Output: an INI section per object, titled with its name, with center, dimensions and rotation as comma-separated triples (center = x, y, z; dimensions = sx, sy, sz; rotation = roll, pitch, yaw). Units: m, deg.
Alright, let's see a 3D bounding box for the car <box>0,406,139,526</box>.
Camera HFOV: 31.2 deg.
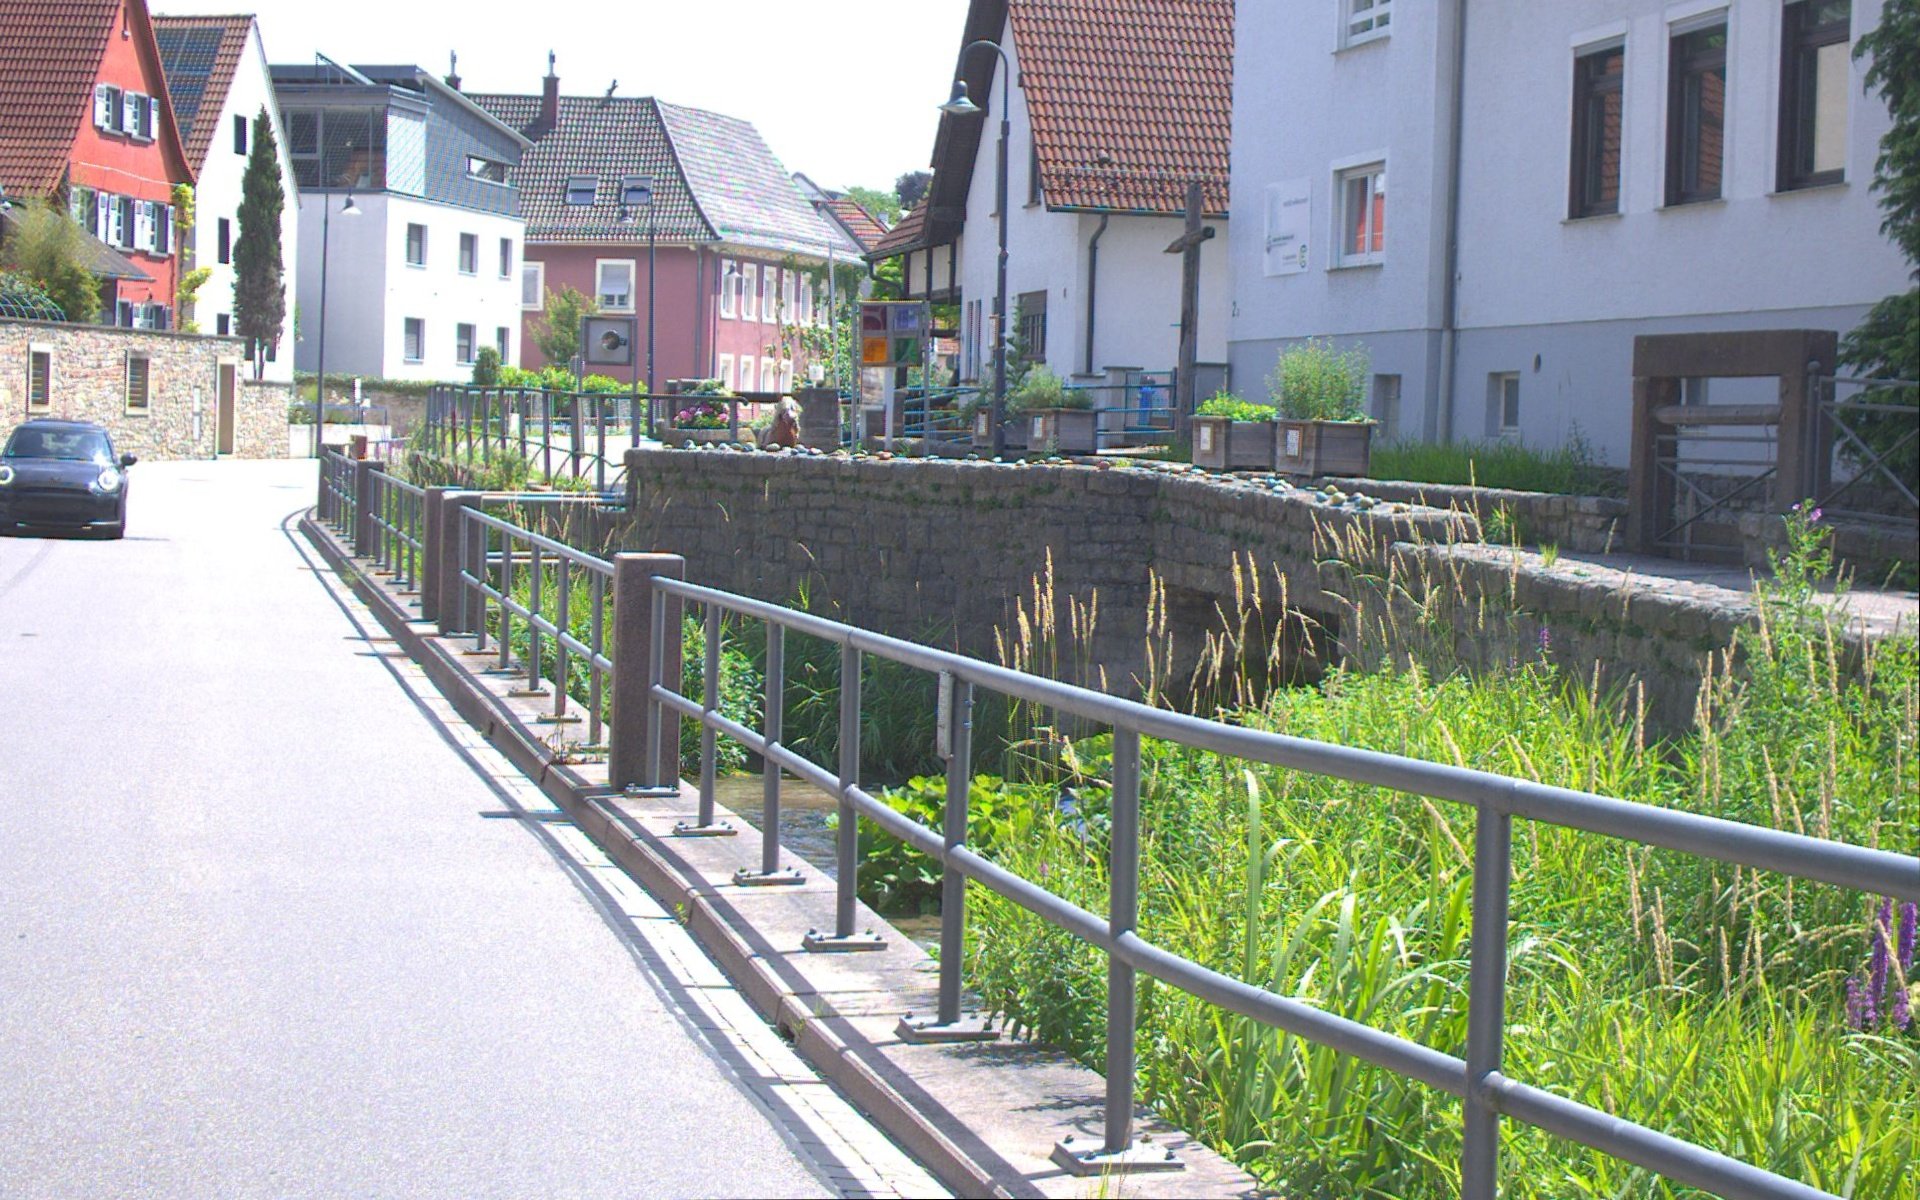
[car]
center = -11.524, -1.740, 44.503
dimensions = 1.698, 1.460, 4.437
rotation = 0, 2, -14
